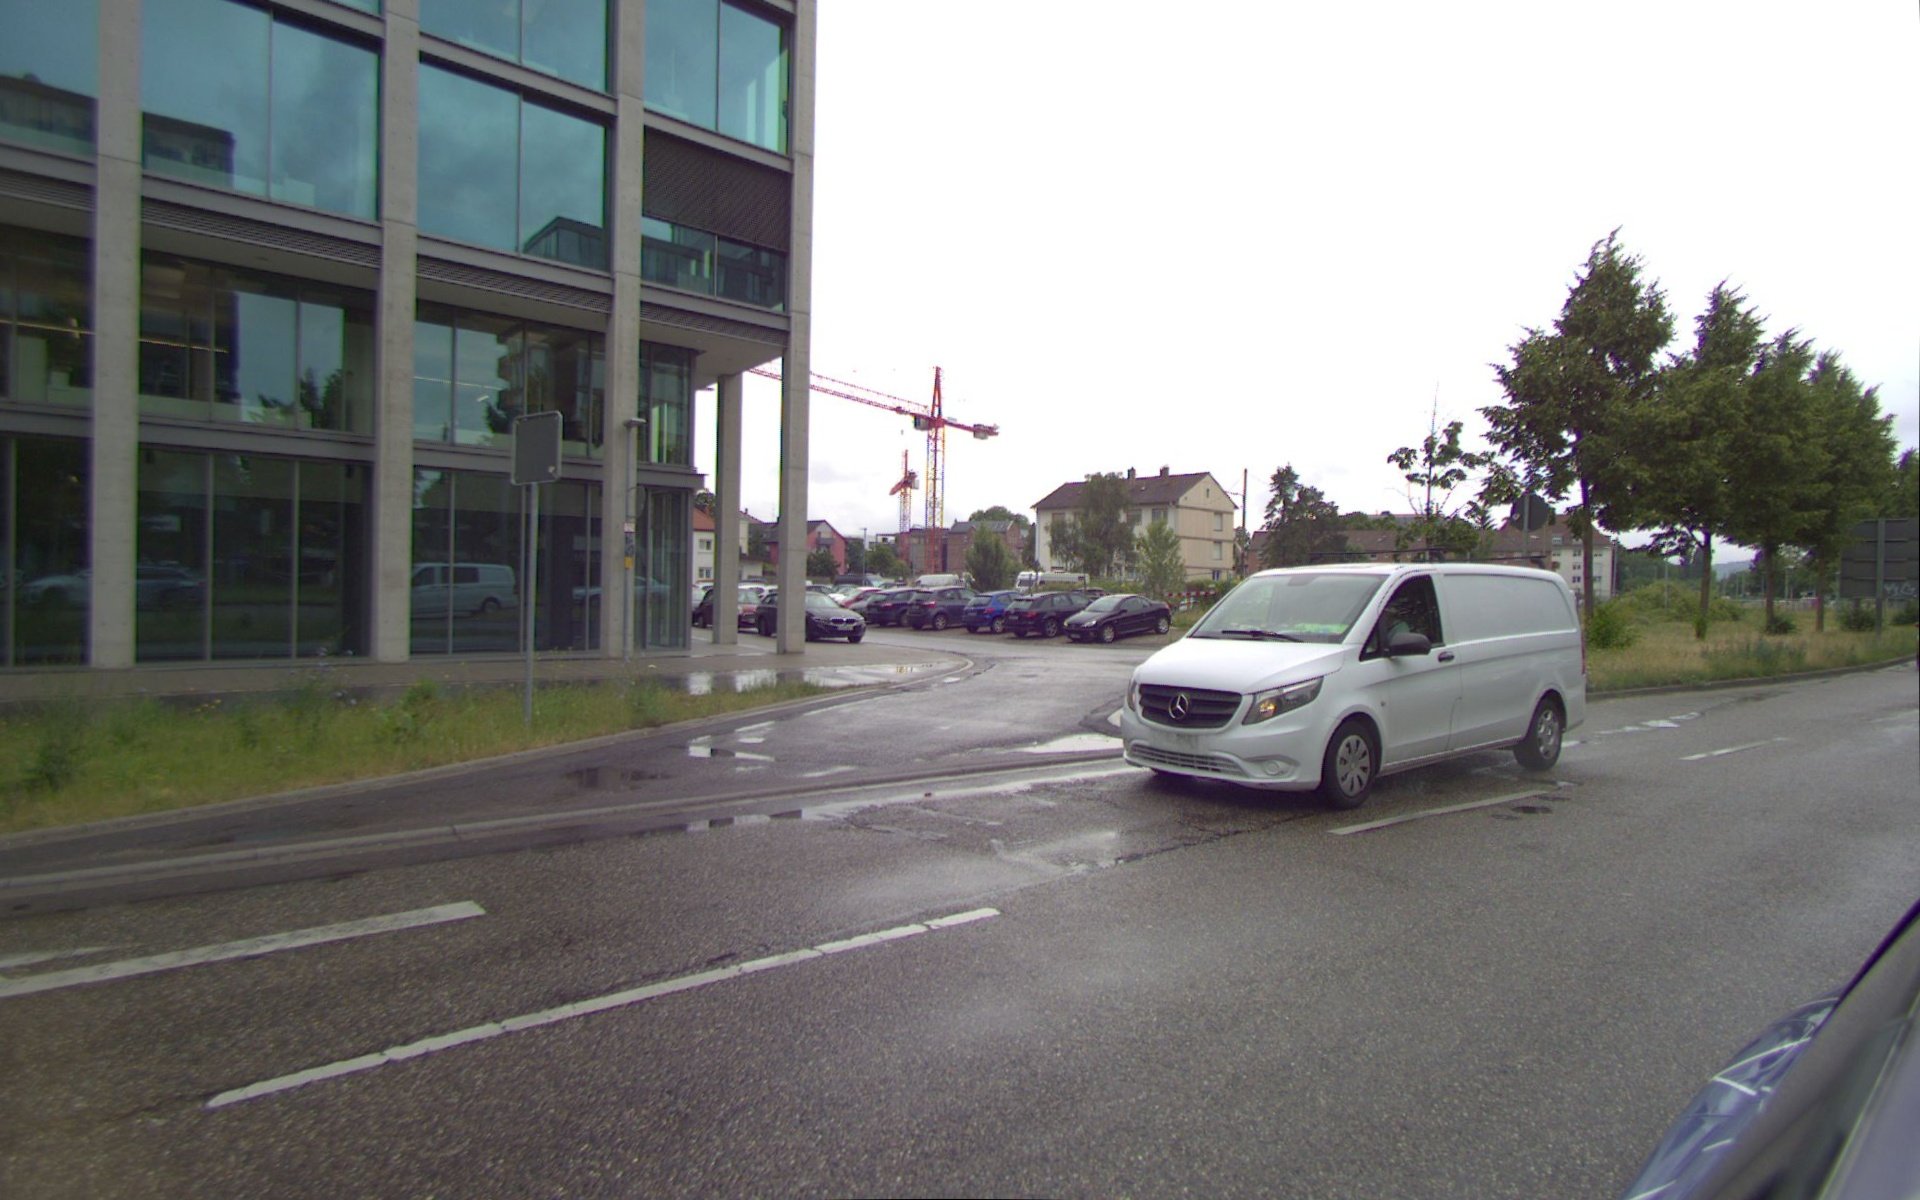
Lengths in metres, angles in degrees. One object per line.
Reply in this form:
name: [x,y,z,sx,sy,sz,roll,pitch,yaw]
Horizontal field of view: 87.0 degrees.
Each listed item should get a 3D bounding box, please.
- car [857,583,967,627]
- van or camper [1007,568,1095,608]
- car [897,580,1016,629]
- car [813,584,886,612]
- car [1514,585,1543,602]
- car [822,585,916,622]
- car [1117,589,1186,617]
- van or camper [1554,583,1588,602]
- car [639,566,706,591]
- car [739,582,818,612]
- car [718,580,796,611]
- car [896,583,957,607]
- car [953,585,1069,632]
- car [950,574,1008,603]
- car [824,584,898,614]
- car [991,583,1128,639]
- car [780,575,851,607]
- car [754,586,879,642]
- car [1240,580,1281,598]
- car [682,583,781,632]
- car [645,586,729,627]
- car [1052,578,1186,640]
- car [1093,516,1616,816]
car: [-1.948,0.169,41.630,4.152,1.492,1.792,-4,3,-35]
van or camper: [7.103,-0.917,78.522,6.657,3.031,2.912,0,1,-41]
car: [-0.100,0.124,39.710,4.334,1.621,1.861,-4,3,-35]
car: [-6.587,-0.147,60.484,3.960,1.369,1.701,-4,3,-37]
car: [77.604,-0.874,138.092,4.681,2.248,2.273,0,0,-45]
car: [-4.157,0.137,46.378,3.924,1.621,1.861,0,1,-35]
car: [11.628,0.185,61.387,3.924,1.621,1.861,0,1,-35]
van or camper: [78.514,-0.912,130.059,6.045,2.337,2.204,0,-1,-43]
car: [-19.475,-1.459,68.690,3.967,1.472,1.857,-5,4,-43]
car: [-10.098,-0.193,56.434,3.965,1.369,1.698,-5,4,-42]
car: [-11.616,-0.275,58.045,3.967,1.514,1.857,-5,4,-43]
car: [-2.297,-0.343,69.772,3.960,1.601,1.700,0,1,-40]
car: [1.900,0.273,37.172,3.925,1.472,1.861,-3,3,-35]
car: [1.371,-0.818,73.197,4.090,2.030,1.700,0,1,-40]
car: [-5.686,-0.090,58.298,3.963,1.463,1.699,-5,3,-40]
car: [3.438,0.319,34.579,4.473,1.472,1.861,-5,4,-35]
car: [-8.900,-0.554,62.432,3.961,1.732,1.700,-4,3,-38]
car: [-4.320,0.385,30.011,1.943,1.456,4.232,3,-1,-35]
car: [32.883,-1.161,110.679,5.121,1.918,2.164,0,1,-45]
car: [-7.931,0.241,34.847,1.826,1.507,3.999,3,-1,-36]
car: [-10.476,0.225,38.630,1.825,1.390,4.000,2,0,-35]
car: [5.087,0.248,32.290,3.925,1.599,1.862,-5,3,-33]
car: [3.699,0.430,9.043,4.996,2.004,1.973,0,1,-36]
